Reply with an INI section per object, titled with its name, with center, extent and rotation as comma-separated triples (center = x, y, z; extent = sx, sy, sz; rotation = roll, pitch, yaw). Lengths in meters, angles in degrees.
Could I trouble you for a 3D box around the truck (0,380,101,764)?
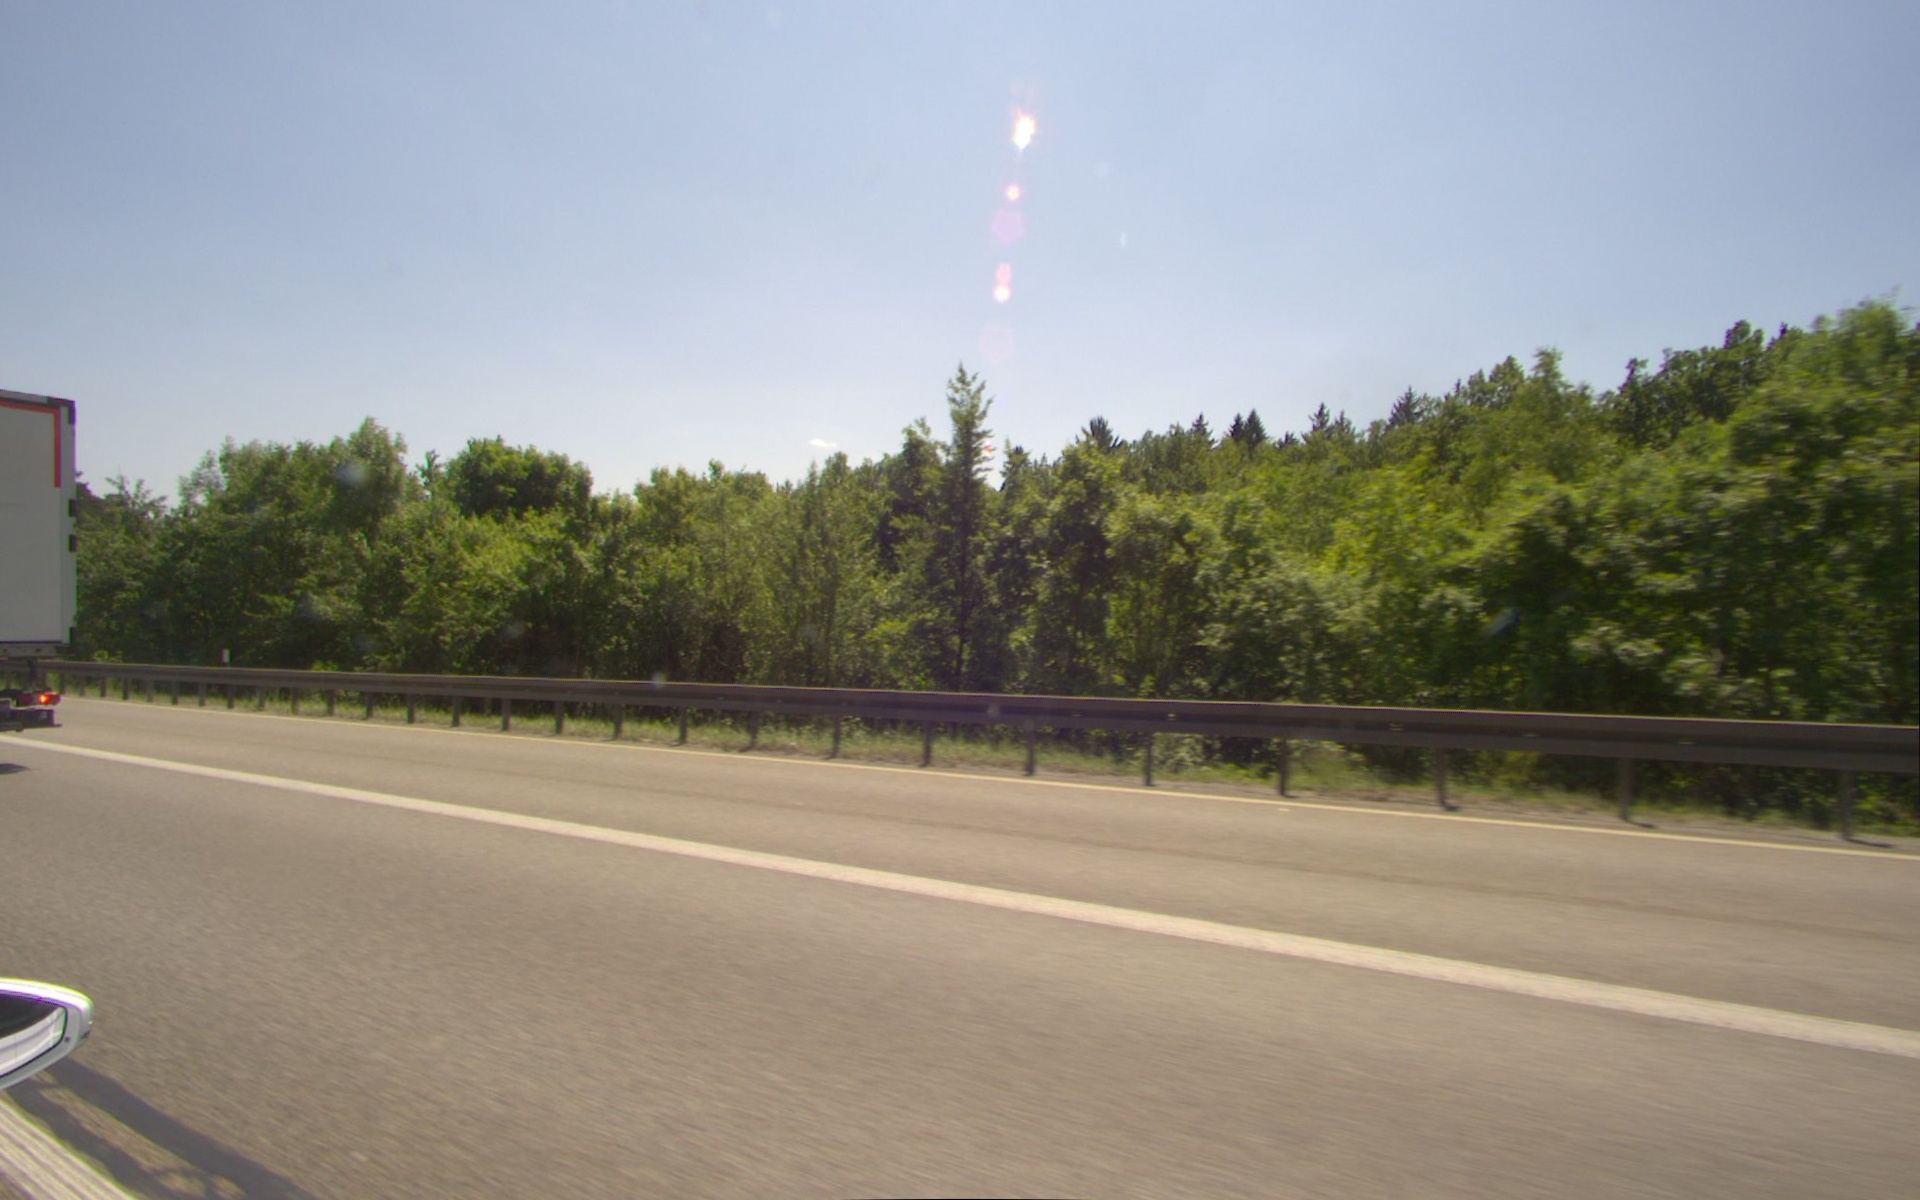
[truck]
center = -14.205, -0.218, 12.329
extent = 9.640, 3.928, 2.682
rotation = -1, 1, 32
